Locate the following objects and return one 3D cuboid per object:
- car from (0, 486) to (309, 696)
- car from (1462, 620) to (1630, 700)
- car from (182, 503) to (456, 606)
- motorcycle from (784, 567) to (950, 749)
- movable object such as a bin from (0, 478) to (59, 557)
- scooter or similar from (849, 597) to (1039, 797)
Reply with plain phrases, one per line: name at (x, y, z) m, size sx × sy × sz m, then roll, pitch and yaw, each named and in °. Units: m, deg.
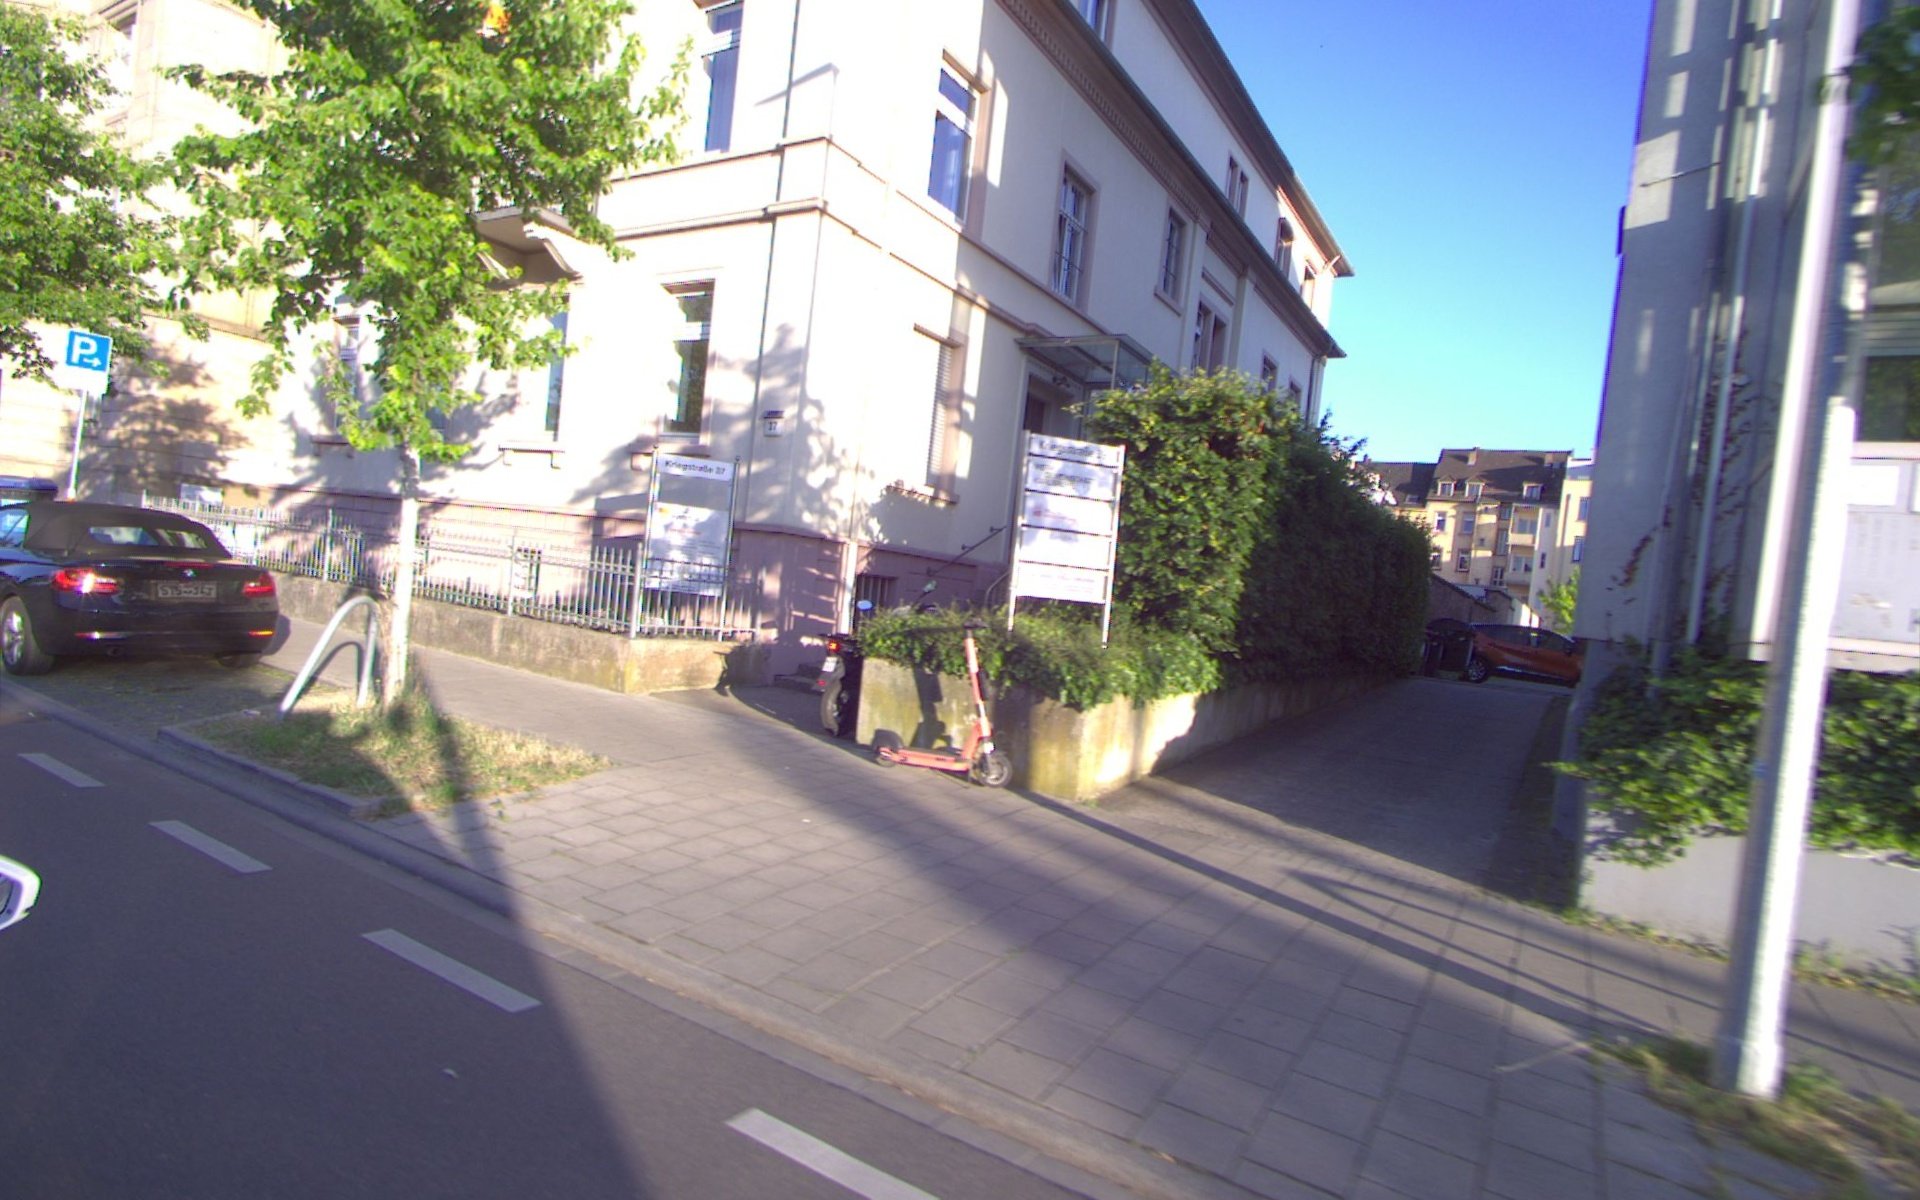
car at (-8.324, -0.227, 9.514) m, size 4.369 × 1.491 × 1.793 m, roll 7°, pitch 4°, yaw 29°
car at (14.399, 1.469, 24.836) m, size 3.331 × 1.470 × 1.625 m, roll 7°, pitch 0°, yaw 32°
car at (-12.782, -0.853, 20.296) m, size 1.886 × 1.591 × 4.194 m, roll 7°, pitch 1°, yaw 34°
motorcycle at (-0.792, 0.485, 8.990) m, size 0.615 × 1.432 × 1.497 m, roll 8°, pitch 3°, yaw 28°
movable object such as a bin at (-19.598, -1.735, 20.644) m, size 1.104 × 1.480 × 1.262 m, roll 7°, pitch 1°, yaw 29°
scooter or similar at (-0.124, 0.684, 7.417) m, size 1.188 × 1.274 × 0.491 m, roll 6°, pitch 0°, yaw 29°
